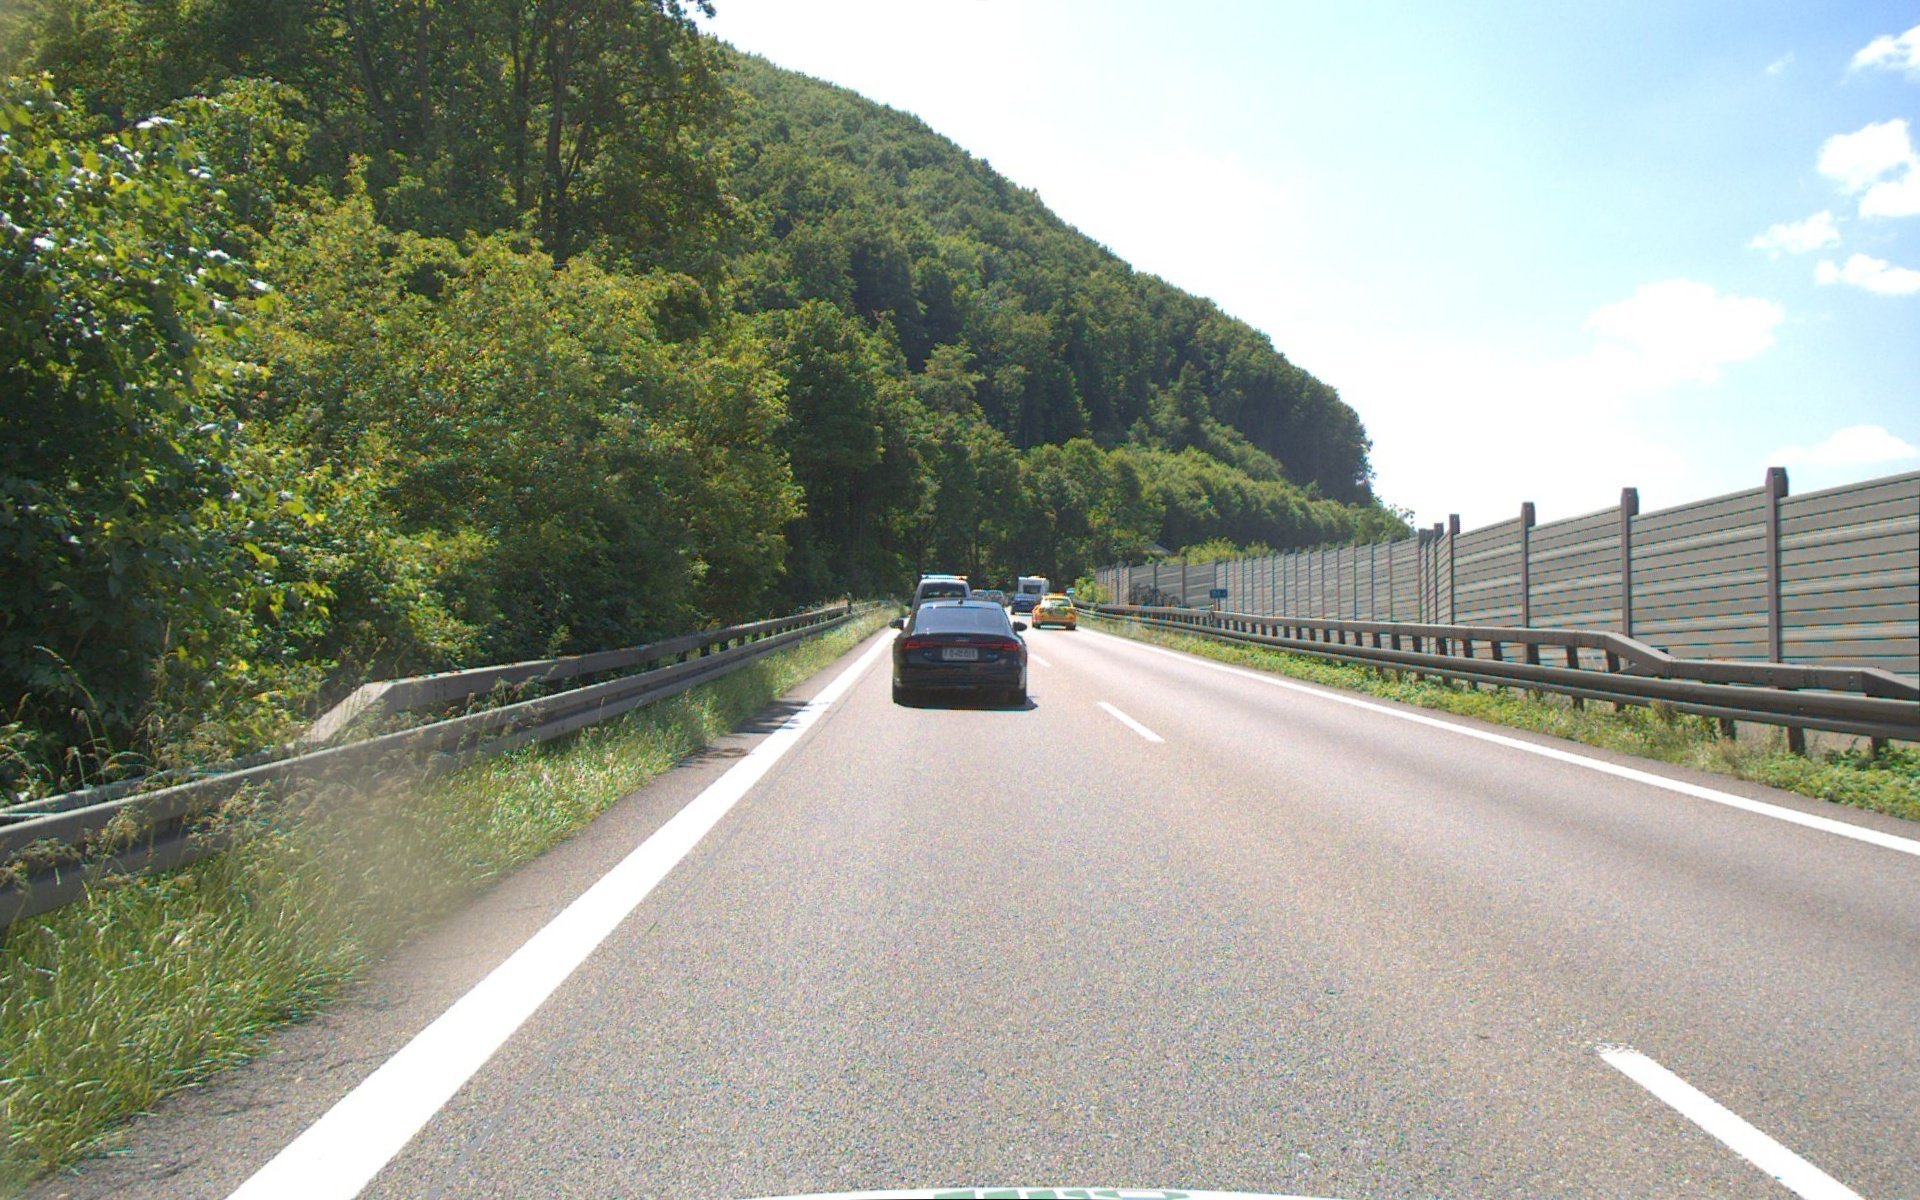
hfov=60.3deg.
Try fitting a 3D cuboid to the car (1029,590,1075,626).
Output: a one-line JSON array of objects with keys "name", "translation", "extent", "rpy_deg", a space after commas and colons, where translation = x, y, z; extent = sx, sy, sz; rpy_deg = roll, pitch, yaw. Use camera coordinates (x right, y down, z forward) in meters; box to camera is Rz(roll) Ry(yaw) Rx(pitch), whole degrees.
[{"name": "car", "translation": [4.066, 0.355, 73.298], "extent": [1.824, 1.514, 4.000], "rpy_deg": [1, 0, 0]}]

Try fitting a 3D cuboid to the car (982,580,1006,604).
[{"name": "car", "translation": [3.018, -0.723, 146.212], "extent": [1.952, 2.049, 4.002], "rpy_deg": [1, 0, 4]}]

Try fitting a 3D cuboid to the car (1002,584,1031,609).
[{"name": "car", "translation": [3.812, -0.226, 112.637], "extent": [1.737, 1.665, 3.999], "rpy_deg": [2, 0, -1]}]

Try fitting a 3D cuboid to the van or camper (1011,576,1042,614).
[{"name": "van or camper", "translation": [5.449, -0.389, 136.216], "extent": [2.405, 2.969, 6.127], "rpy_deg": [1, 0, 1]}]

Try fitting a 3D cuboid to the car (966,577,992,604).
[{"name": "car", "translation": [1.493, -0.763, 129.958], "extent": [1.953, 2.049, 3.999], "rpy_deg": [1, 0, -1]}]

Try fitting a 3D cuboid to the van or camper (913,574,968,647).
[{"name": "van or camper", "translation": [-0.519, 0.270, 44.099], "extent": [1.363, 1.847, 3.999], "rpy_deg": [1, 0, -1]}]

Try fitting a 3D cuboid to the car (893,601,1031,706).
[{"name": "car", "translation": [0.007, 0.703, 23.686], "extent": [1.800, 1.373, 3.999], "rpy_deg": [0, 0, -1]}]

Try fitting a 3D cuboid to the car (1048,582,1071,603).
[{"name": "car", "translation": [10.013, -0.694, 165.928], "extent": [1.951, 2.049, 4.003], "rpy_deg": [1, 0, 9]}]
